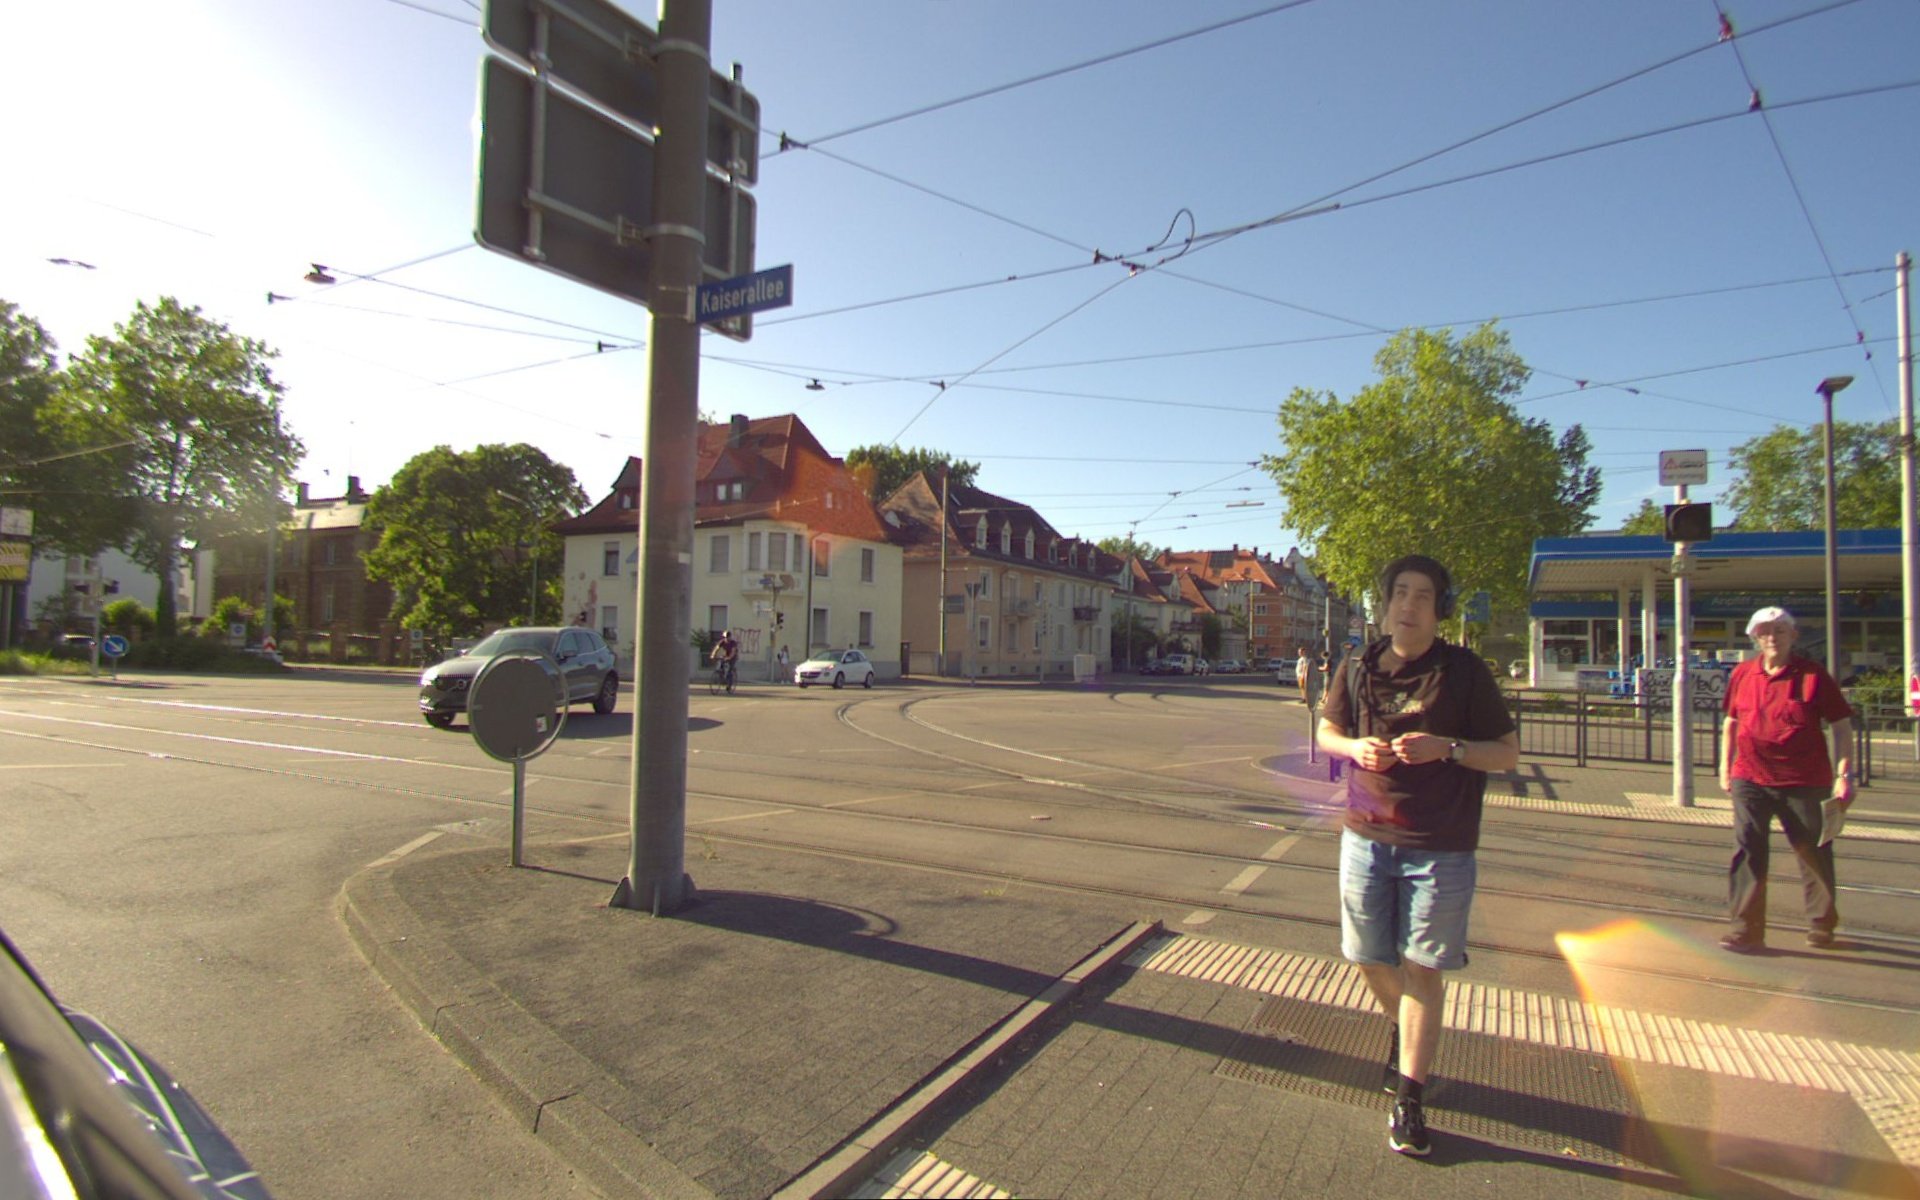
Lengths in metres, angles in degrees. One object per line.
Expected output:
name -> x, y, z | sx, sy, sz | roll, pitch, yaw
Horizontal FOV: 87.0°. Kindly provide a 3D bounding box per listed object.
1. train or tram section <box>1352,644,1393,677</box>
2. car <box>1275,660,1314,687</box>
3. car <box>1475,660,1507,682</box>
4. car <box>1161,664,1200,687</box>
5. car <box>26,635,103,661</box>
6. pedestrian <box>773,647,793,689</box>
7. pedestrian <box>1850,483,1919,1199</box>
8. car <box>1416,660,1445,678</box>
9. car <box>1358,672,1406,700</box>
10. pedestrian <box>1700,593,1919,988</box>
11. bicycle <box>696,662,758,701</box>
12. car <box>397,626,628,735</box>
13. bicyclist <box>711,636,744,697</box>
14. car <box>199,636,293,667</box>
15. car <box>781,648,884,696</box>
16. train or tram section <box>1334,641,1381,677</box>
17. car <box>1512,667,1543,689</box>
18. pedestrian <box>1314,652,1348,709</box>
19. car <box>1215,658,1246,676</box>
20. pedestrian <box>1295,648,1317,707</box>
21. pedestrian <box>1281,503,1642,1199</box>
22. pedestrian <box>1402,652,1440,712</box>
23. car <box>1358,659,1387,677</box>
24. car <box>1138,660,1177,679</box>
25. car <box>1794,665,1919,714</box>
train or tram section -> 48.581, 7.105, 119.045 | 3.052, 3.640, 12.377 | -1, -4, 29
car -> 20.061, 4.380, 60.645 | 1.715, 1.508, 3.550 | 0, -4, 27
car -> 38.875, 5.166, 74.039 | 1.876, 1.497, 3.958 | -1, -4, 30
car -> 19.584, 6.686, 89.853 | 1.926, 1.859, 5.259 | -1, -4, 30
car -> -53.720, 2.886, 60.702 | 4.479, 1.465, 1.901 | 0, -3, 27
pedestrian -> -7.782, 2.979, 44.543 | 0.662, 1.753, 0.692 | 4, -1, -19
pedestrian -> 2.553, 0.636, 2.103 | 0.890, 1.746, 0.843 | 3, -4, -35
car -> 40.263, 5.912, 86.543 | 1.876, 1.497, 3.958 | -1, -4, 30
car -> 23.226, 4.725, 55.610 | 1.775, 1.436, 3.498 | -4, -6, 33
pedestrian -> 4.324, 0.863, 5.028 | 0.835, 1.737, 0.827 | 3, -4, -38
bicycle -> -6.771, 2.360, 29.487 | 0.598, 1.065, 1.970 | -1, -4, 29
car -> -7.703, 1.375, 17.979 | 1.893, 1.643, 4.498 | 1, -3, 3
bicyclist -> -6.782, 1.941, 29.519 | 0.598, 1.732, 0.656 | -1, -4, 29
car -> -35.623, 2.566, 50.505 | 4.479, 1.465, 1.901 | 0, -3, 27
car -> -4.710, 2.691, 38.068 | 1.906, 1.643, 4.469 | 0, -3, 22
train or tram section -> 42.688, 6.372, 108.394 | 3.052, 3.640, 11.992 | -1, -4, 29
car -> 40.823, 5.590, 72.722 | 1.876, 1.497, 3.958 | -1, -4, 30
pedestrian -> 11.965, 2.588, 32.615 | 0.729, 1.815, 0.744 | 3, -4, -36
car -> 28.282, 7.025, 105.756 | 1.926, 1.774, 5.259 | -1, -4, 30
pedestrian -> 11.648, 2.592, 34.064 | 0.629, 1.940, 0.578 | -1, -4, 30
pedestrian -> 1.474, 0.656, 3.003 | 0.788, 1.746, 0.655 | 3, -4, -35
pedestrian -> 13.753, 2.452, 30.187 | 0.748, 1.742, 0.723 | -6, -7, 44
car -> 37.131, 6.111, 90.944 | 1.876, 1.497, 3.958 | -1, -4, 30
car -> 16.575, 5.821, 84.708 | 1.878, 1.497, 3.955 | -1, -4, 33
car -> 30.462, 2.941, 33.414 | 4.201, 1.497, 1.700 | -1, -4, 29
